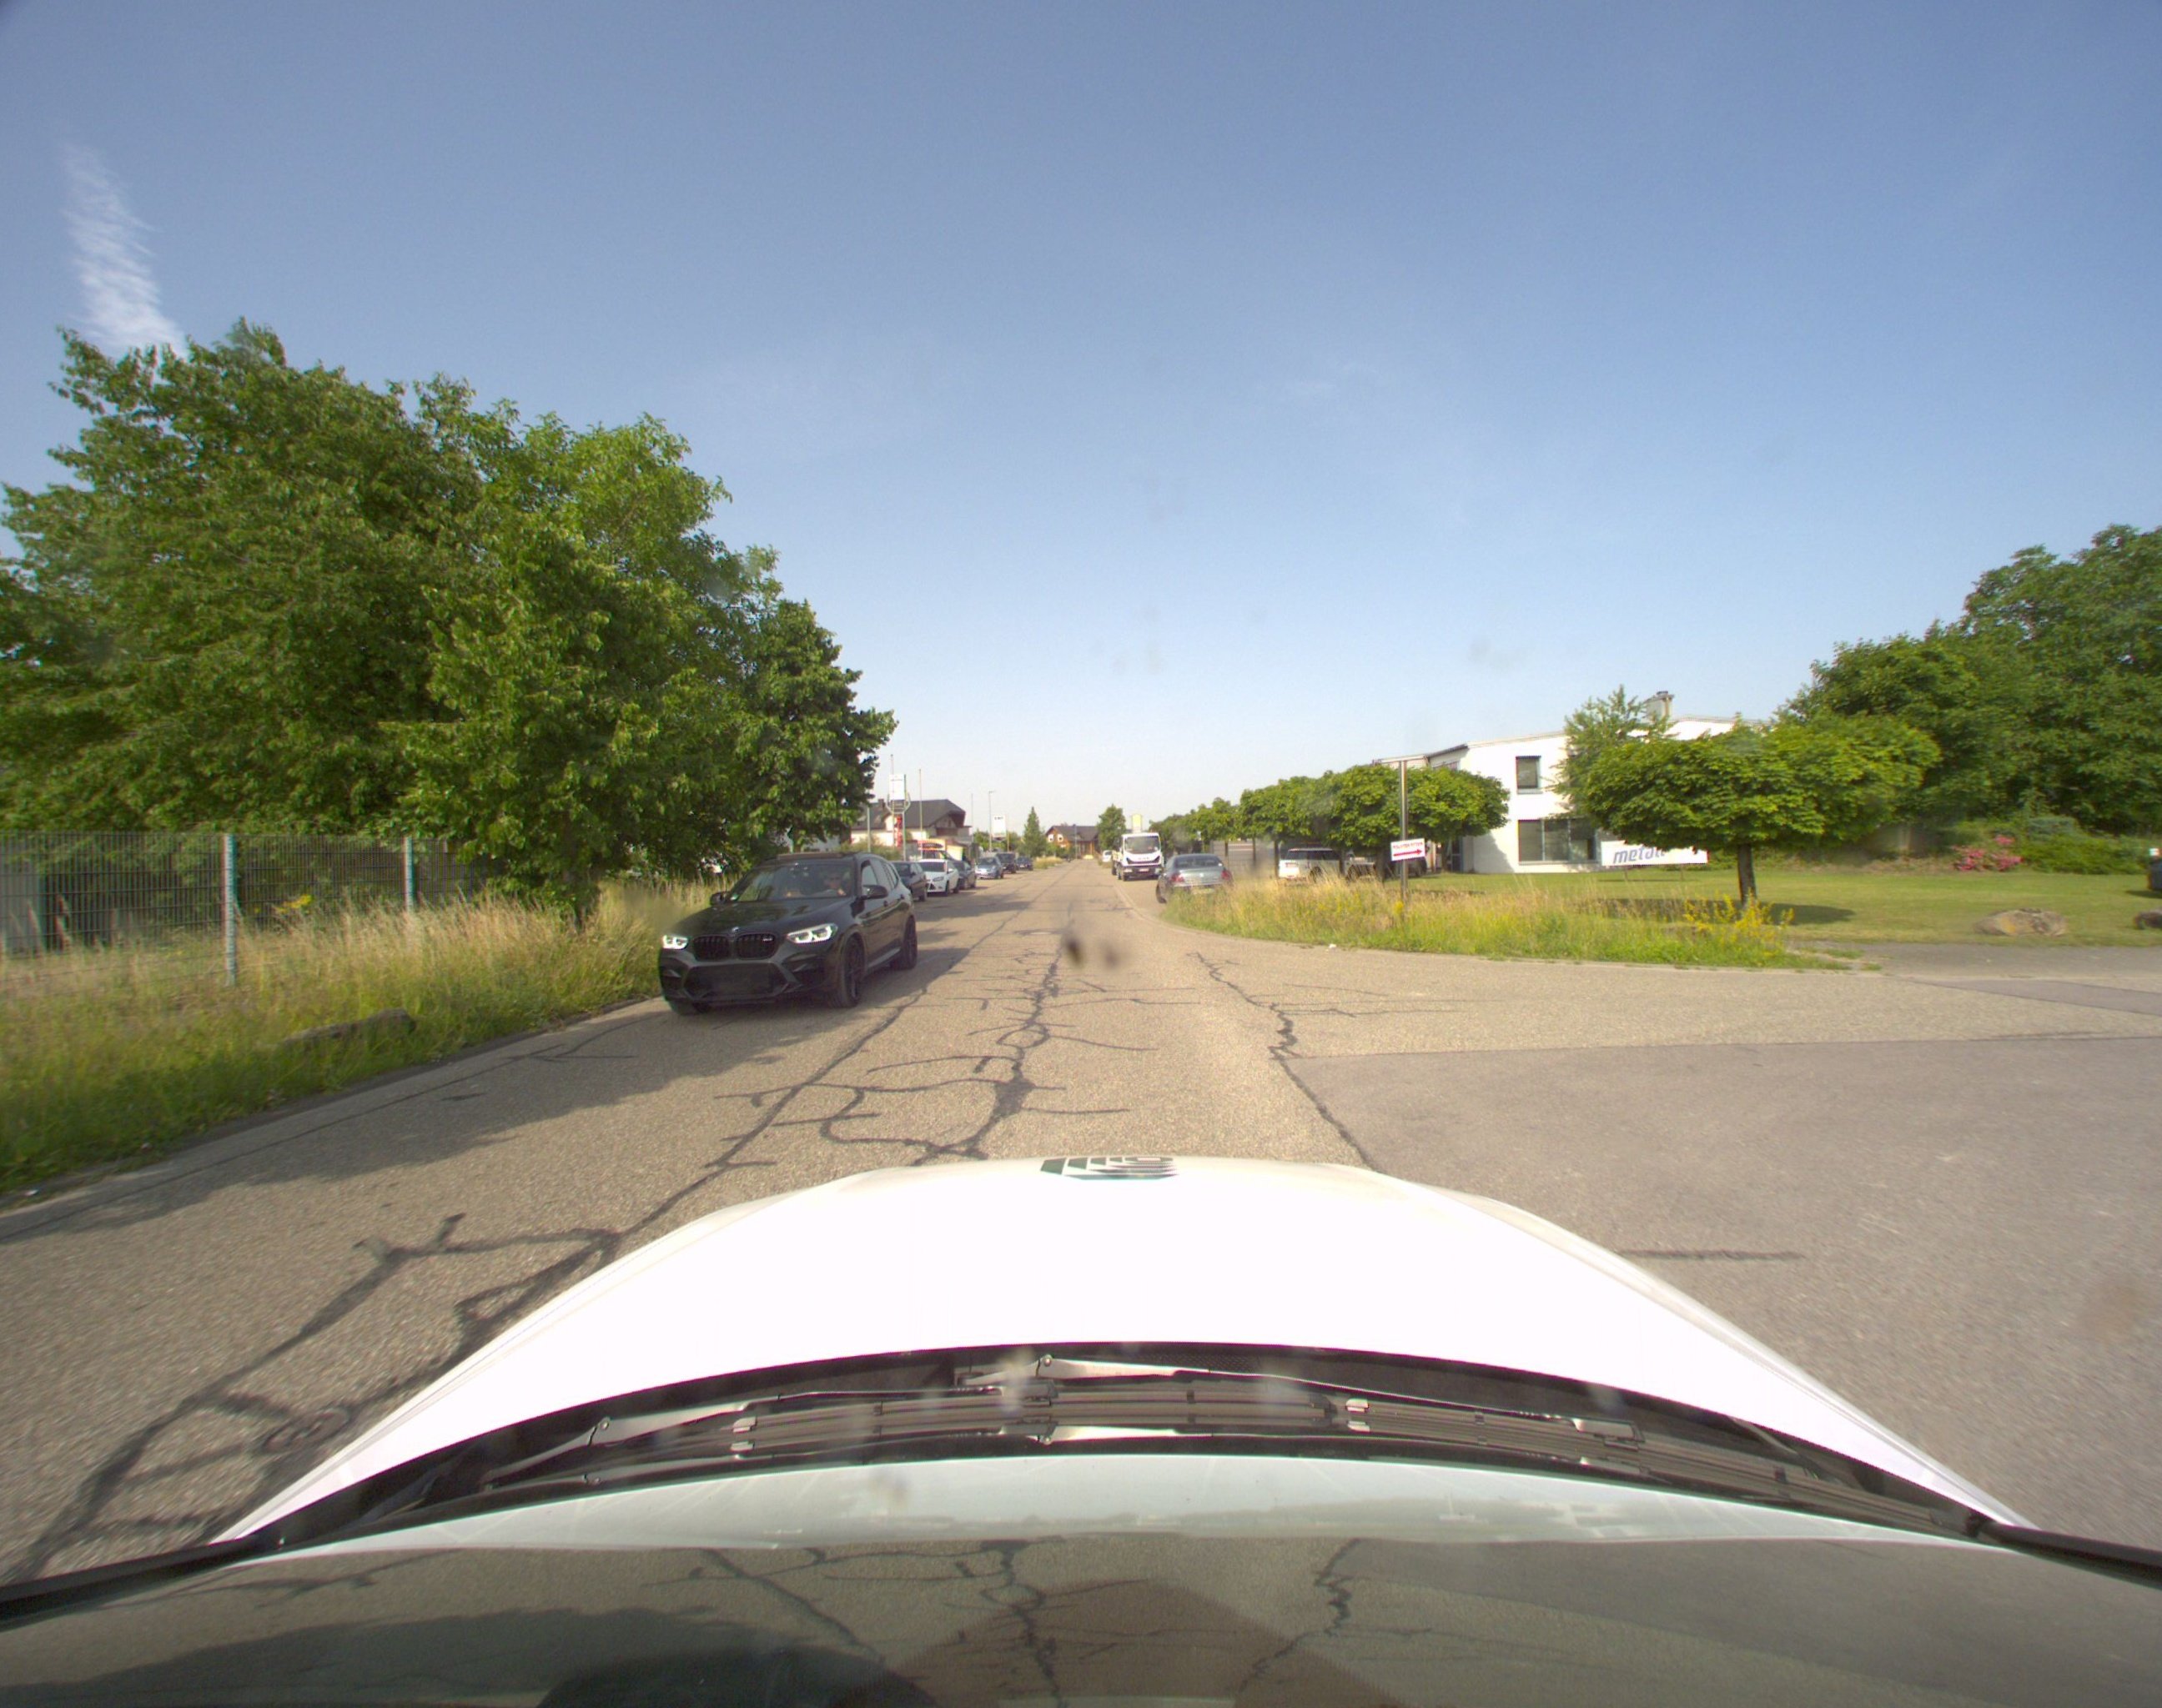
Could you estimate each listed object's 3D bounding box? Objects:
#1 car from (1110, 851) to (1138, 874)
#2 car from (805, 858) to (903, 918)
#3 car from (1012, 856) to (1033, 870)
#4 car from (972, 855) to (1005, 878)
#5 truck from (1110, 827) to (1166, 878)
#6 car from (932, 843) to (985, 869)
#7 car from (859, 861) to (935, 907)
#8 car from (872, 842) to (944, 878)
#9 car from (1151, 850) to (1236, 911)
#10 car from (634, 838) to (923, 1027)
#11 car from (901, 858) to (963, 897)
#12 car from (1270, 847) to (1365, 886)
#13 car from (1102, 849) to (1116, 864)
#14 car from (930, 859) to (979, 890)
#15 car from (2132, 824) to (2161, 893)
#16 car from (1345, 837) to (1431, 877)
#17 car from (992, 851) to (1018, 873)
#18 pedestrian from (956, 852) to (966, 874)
[{"bbox_3d":[3.052,0.563,58.692,1.788,1.560,4.000,-2,0,0],"label":"car"},{"bbox_3d":[-6.336,0.904,23.125,1.560,1.538,3.691,0,0,3],"label":"car"},{"bbox_3d":[-5.899,0.922,82.015,1.794,1.386,3.637,0,0,0],"label":"car"},{"bbox_3d":[-6.214,0.840,55.045,1.626,1.517,3.608,0,0,3],"label":"car"},{"bbox_3d":[3.156,-0.091,46.591,2.354,2.681,6.504,-2,0,-3],"label":"truck"},{"bbox_3d":[-13.557,0.223,90.189,5.113,2.586,2.590,-2,0,21],"label":"car"},{"bbox_3d":[-6.238,0.974,28.006,1.572,1.443,3.965,0,0,2],"label":"car"},{"bbox_3d":[-12.395,0.396,58.639,4.608,2.416,2.001,-2,0,2],"label":"car"},{"bbox_3d":[3.054,0.672,22.903,1.788,1.517,4.423,-1,0,0],"label":"car"},{"bbox_3d":[-3.303,0.751,9.913,1.850,1.715,4.226,-3,0,0],"label":"car"},{"bbox_3d":[-5.986,0.892,33.246,1.678,1.469,4.254,0,0,1],"label":"car"},{"bbox_3d":[9.166,0.457,31.467,3.716,1.380,1.668,-2,0,-39],"label":"car"},{"bbox_3d":[3.704,0.355,108.573,1.831,1.924,3.756,-2,0,1],"label":"car"},{"bbox_3d":[-6.057,0.935,39.473,1.628,1.387,4.369,0,0,0],"label":"car"},{"bbox_3d":[23.251,0.050,15.051,1.783,1.409,4.328,-2,0,-13],"label":"car"},{"bbox_3d":[13.149,0.116,34.751,4.559,1.589,1.667,0,-1,-44],"label":"car"},{"bbox_3d":[-6.462,0.665,69.416,1.794,1.774,4.202,0,0,0],"label":"car"},{"bbox_3d":[-9.781,0.722,66.151,0.566,1.715,0.528,-2,0,-37],"label":"pedestrian"}]
